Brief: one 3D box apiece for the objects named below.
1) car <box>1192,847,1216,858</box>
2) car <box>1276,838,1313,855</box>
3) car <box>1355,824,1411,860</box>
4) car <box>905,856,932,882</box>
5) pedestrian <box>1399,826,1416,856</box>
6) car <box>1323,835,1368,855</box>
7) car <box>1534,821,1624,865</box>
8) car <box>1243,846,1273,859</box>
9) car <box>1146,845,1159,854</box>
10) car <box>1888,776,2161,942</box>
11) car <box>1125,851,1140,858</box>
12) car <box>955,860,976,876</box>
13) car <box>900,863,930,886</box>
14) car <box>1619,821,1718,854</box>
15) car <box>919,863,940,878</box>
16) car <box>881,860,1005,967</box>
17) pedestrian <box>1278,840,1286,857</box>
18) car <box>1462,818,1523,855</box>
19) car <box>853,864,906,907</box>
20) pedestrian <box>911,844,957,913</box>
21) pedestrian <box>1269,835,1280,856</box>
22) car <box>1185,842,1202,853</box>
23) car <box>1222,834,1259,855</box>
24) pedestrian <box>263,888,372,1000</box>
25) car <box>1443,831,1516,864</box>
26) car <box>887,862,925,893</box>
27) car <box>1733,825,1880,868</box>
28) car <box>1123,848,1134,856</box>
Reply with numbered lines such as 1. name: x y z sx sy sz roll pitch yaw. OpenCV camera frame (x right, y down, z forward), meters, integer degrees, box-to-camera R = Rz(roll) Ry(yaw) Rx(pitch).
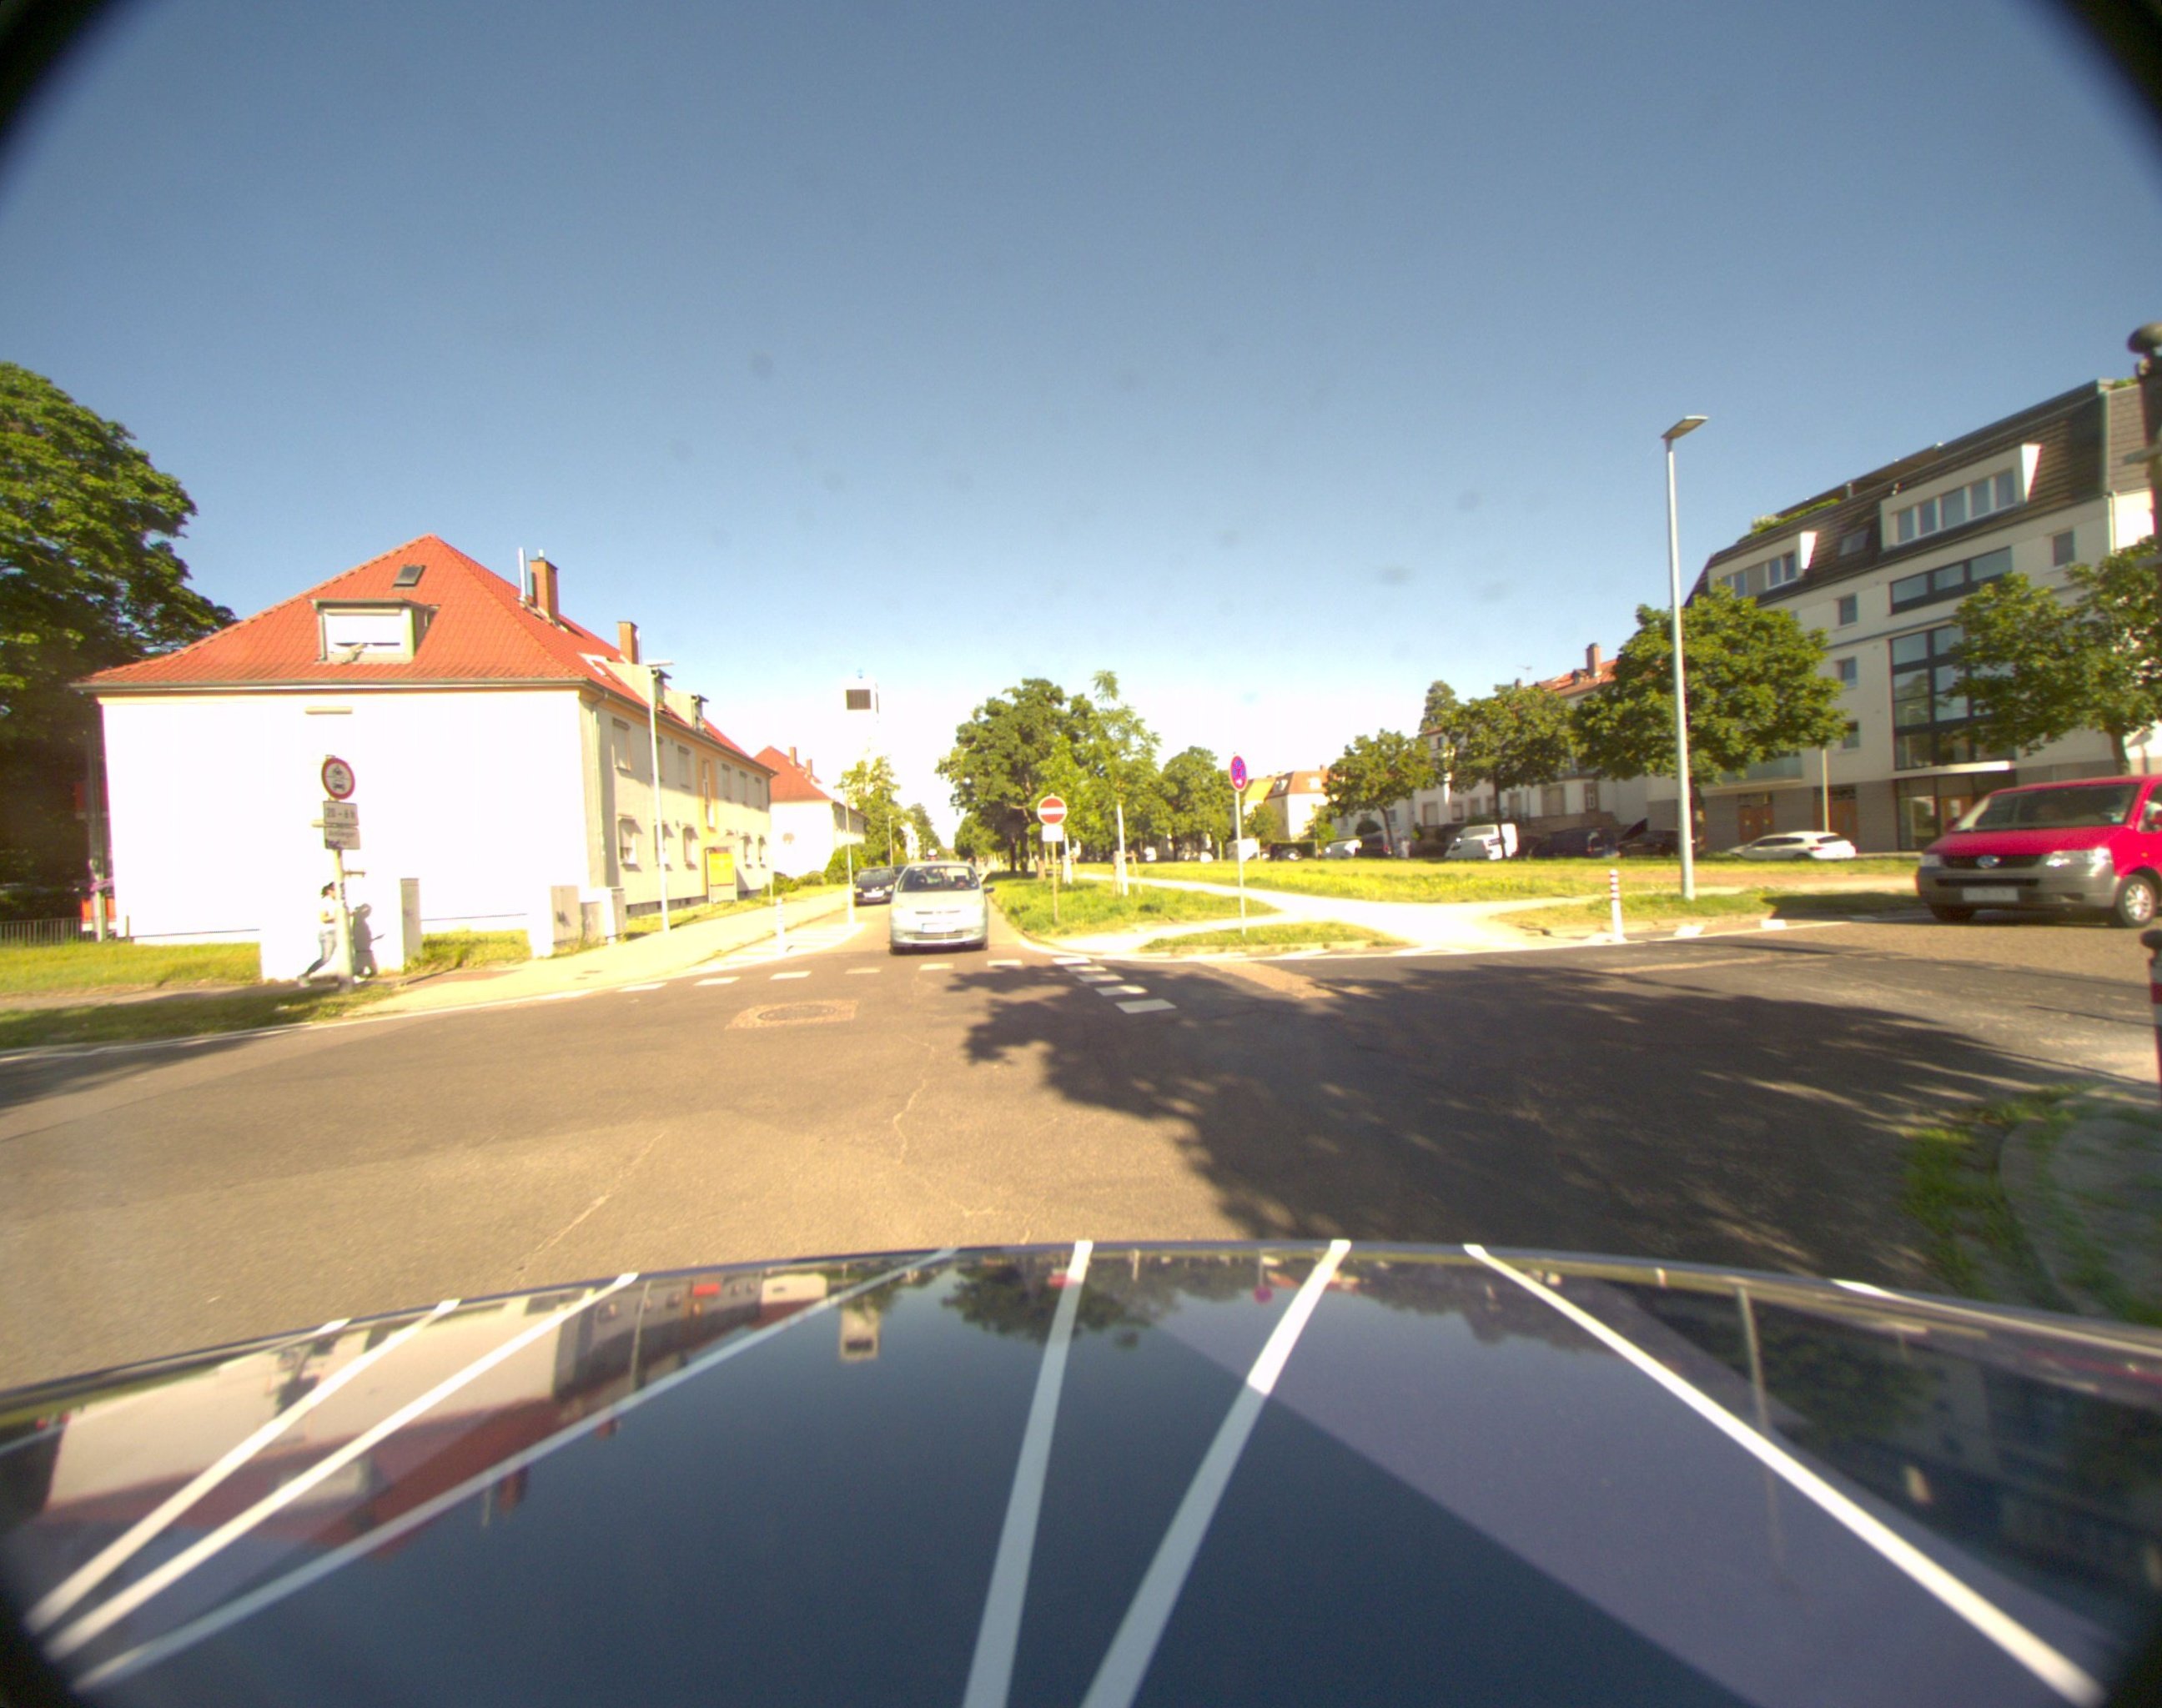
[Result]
1. car: 17.444 -0.227 108.299 2.081 1.457 4.724 -3 0 -7
2. car: 22.122 -0.742 78.959 2.085 1.589 4.285 -3 0 -7
3. car: 24.193 -0.937 61.076 2.193 2.569 4.285 -7 1 -7
4. car: -13.594 1.252 63.835 1.872 2.002 4.253 -3 0 -8
5. pedestrian: 20.637 -0.816 48.061 0.724 1.866 0.629 -3 1 -9
6. car: 23.609 -0.799 67.963 2.085 1.589 4.285 -3 0 -7
7. car: 27.117 -0.562 41.542 1.784 2.072 3.991 -7 1 -7
8. car: 20.108 -0.156 86.448 1.934 1.337 4.107 -3 0 -7
9. car: 15.302 -0.881 163.779 1.865 1.834 3.991 -3 0 -7
10. car: 14.193 -0.037 10.497 4.887 1.949 1.895 -3 1 -12
11. car: 10.375 0.098 153.157 2.081 1.457 4.724 -3 0 -7
12. car: -10.139 1.224 67.128 1.721 1.334 3.806 -3 0 -8
13. car: -11.863 1.456 54.475 1.721 1.433 4.137 -3 0 -8
14. car: 33.083 -0.879 42.947 1.896 1.673 4.286 -4 0 -7
15. car: -14.851 1.610 74.589 1.721 1.334 3.806 -3 0 -8
16. car: -2.502 0.959 14.336 1.888 1.599 4.244 -3 0 -8
17. pedestrian: 18.270 -0.511 69.063 0.497 1.496 0.534 -3 1 -8
18. car: 30.949 -1.282 57.283 2.023 2.534 3.991 -4 1 -7
19. car: -8.830 1.325 33.529 1.721 1.654 4.061 -3 0 -8
20. pedestrian: -3.810 0.630 19.691 1.054 1.699 0.692 -3 1 -13
21. pedestrian: 17.609 -0.732 69.190 0.644 1.866 0.628 -3 1 -9
22. car: 19.609 -1.100 132.507 1.865 1.834 3.991 -3 0 -7
23. car: 19.430 -1.153 93.045 2.551 2.320 5.916 -3 0 -7
24. pedestrian: -11.871 1.372 11.844 0.834 1.601 0.768 -3 1 -4
25. car: 25.981 -0.413 49.743 1.876 1.873 4.420 -7 1 -8
26. car: -10.145 1.335 44.288 1.721 1.574 4.137 -3 0 -8
27. car: 28.992 -0.287 30.547 1.739 1.425 3.991 -7 1 -8
28. car: 11.958 -0.437 191.573 1.865 1.834 3.991 -3 0 -7
